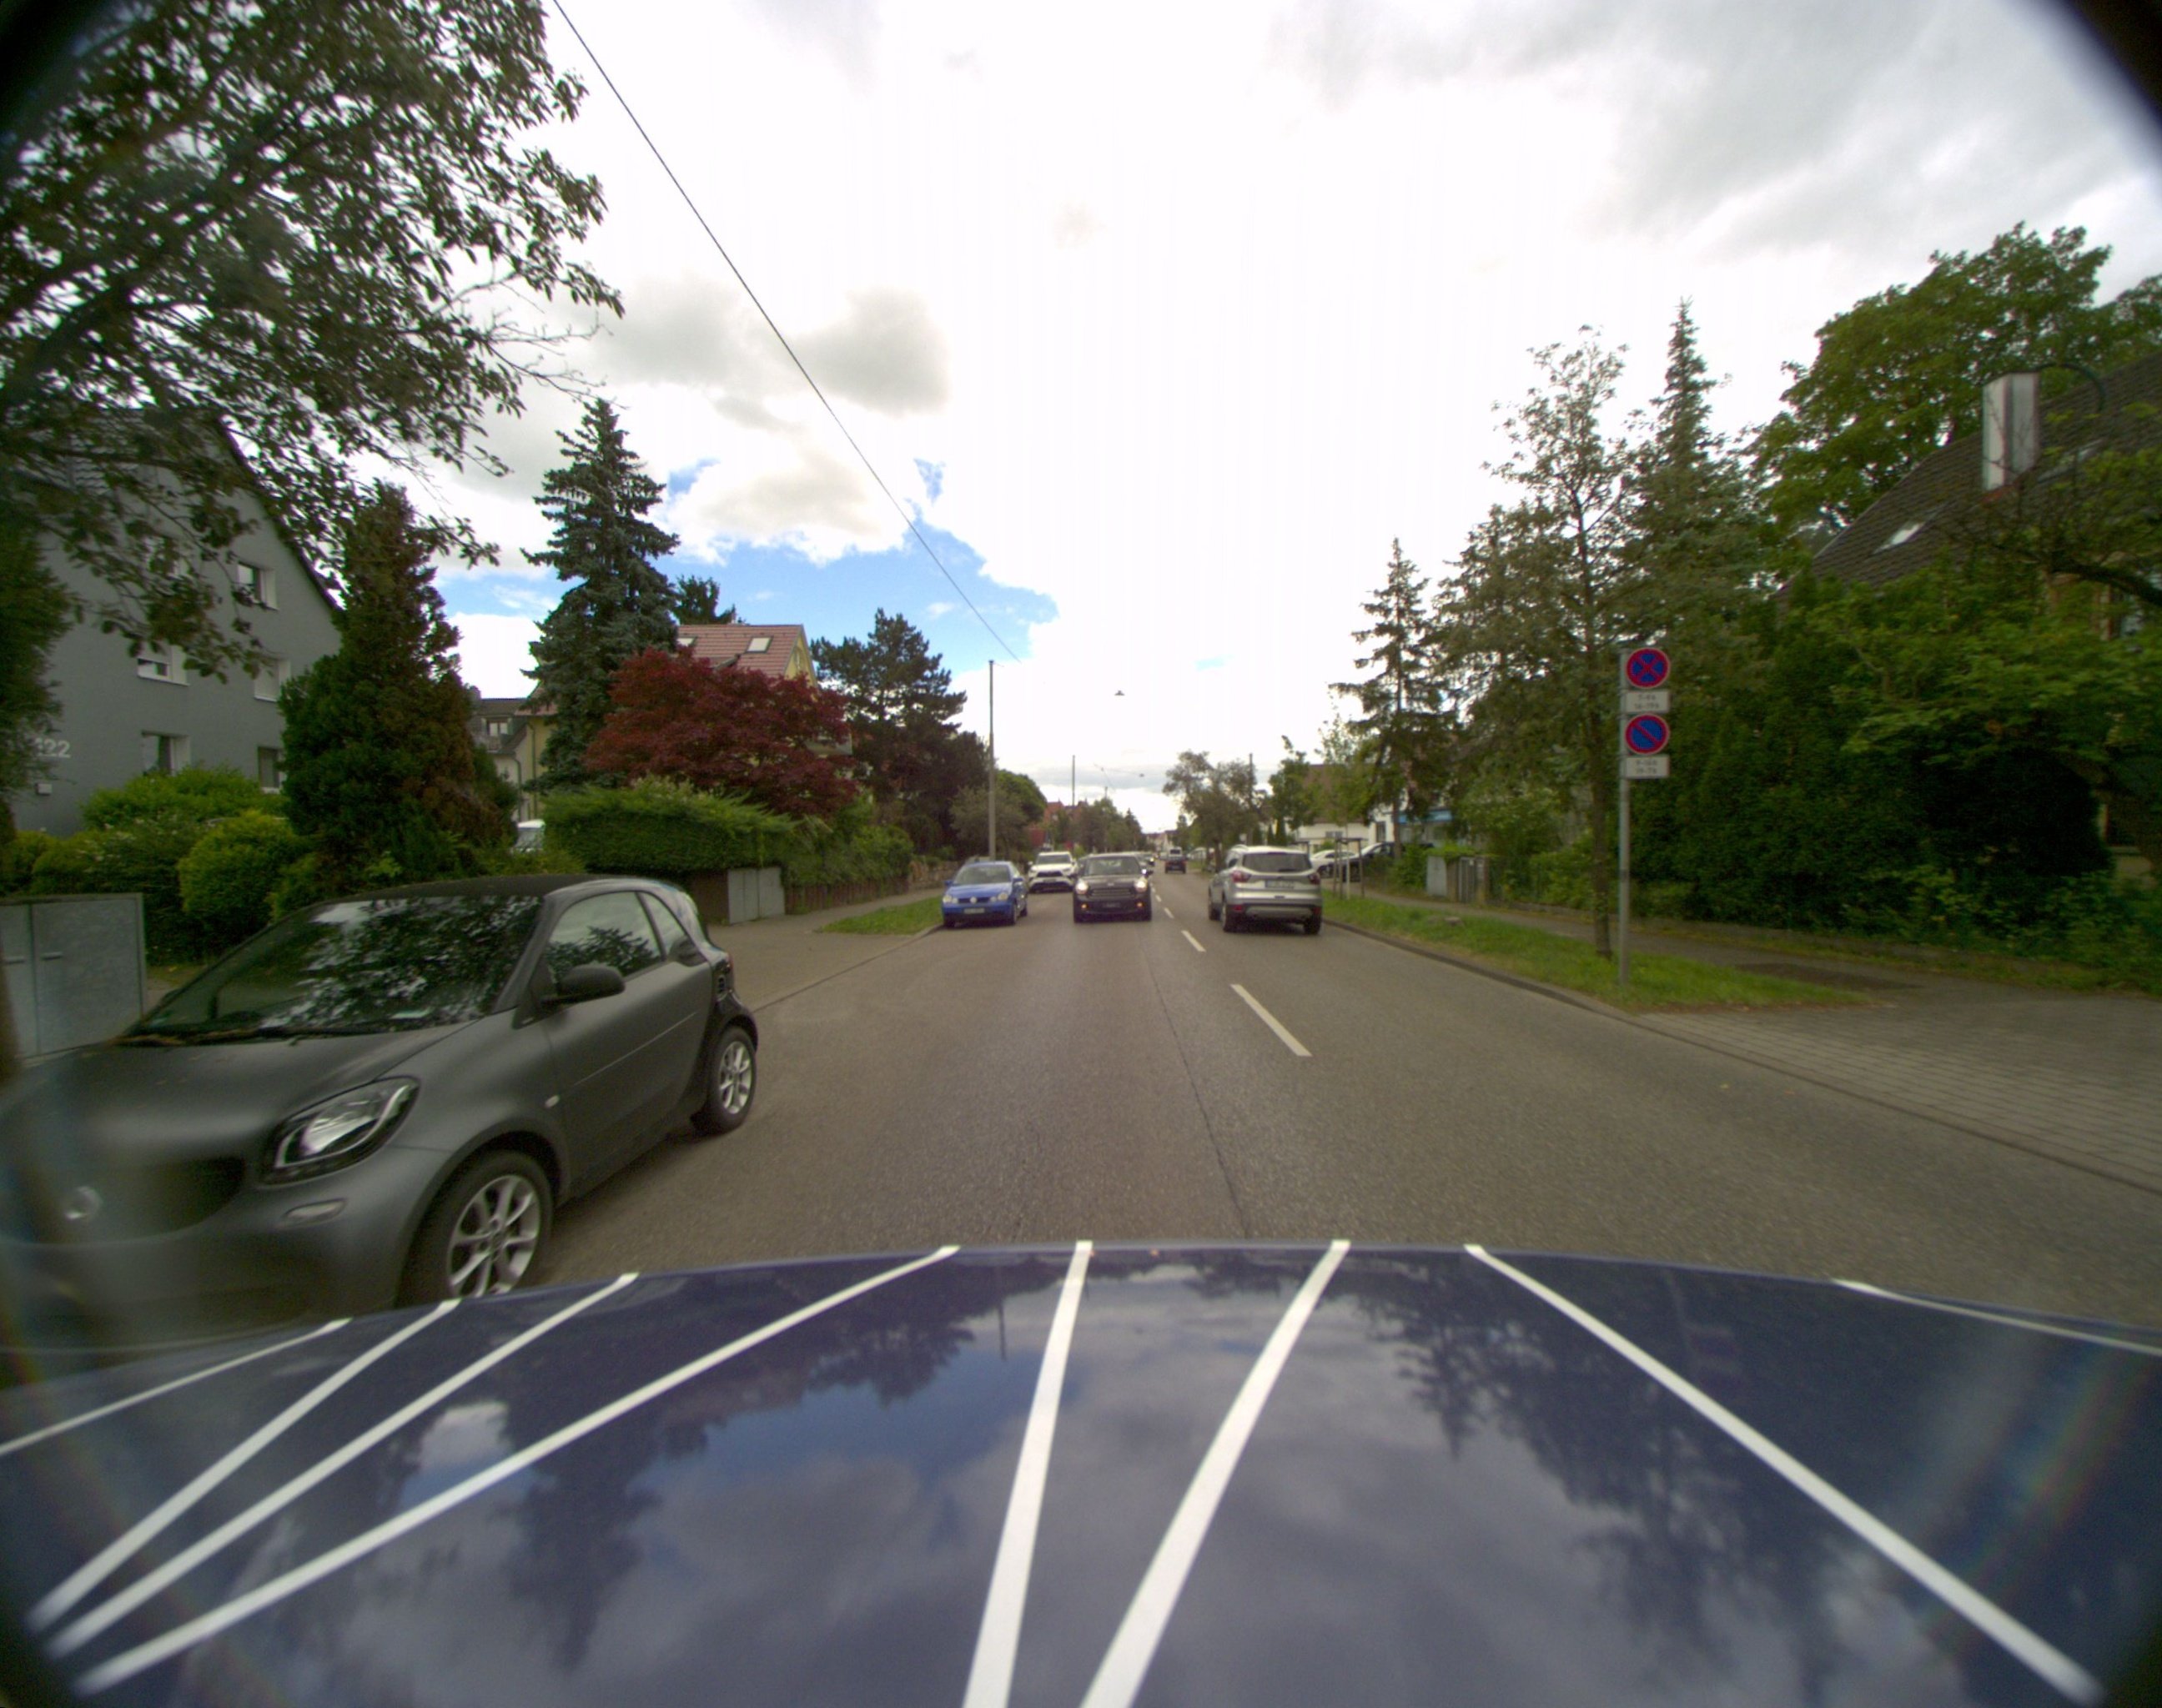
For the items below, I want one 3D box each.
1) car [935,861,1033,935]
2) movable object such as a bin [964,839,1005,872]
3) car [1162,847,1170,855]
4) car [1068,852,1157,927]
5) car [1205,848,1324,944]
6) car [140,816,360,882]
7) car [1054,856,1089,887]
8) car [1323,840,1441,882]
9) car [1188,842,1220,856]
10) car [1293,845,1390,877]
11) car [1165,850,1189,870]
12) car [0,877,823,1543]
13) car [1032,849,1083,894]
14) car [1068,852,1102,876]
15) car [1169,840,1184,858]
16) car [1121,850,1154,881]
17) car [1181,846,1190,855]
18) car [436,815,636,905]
[{"bbox_3d":[-2.226,0.974,18.436,1.630,1.443,3.876,-3,1,3],"label":"car"},{"bbox_3d":[-6.229,0.067,49.247,2.316,2.002,1.343,-3,1,2],"label":"movable object such as a bin"},{"bbox_3d":[18.377,-0.572,164.235,1.799,1.742,4.300,0,0,7],"label":"car"},{"bbox_3d":[0.860,0.768,18.159,1.742,1.573,3.686,-1,0,8],"label":"car"},{"bbox_3d":[3.652,0.734,15.770,1.745,1.696,4.101,1,1,4],"label":"car"},{"bbox_3d":[-20.509,-0.203,19.028,1.430,1.343,3.846,1,4,-5],"label":"car"},{"bbox_3d":[-0.466,0.891,39.255,1.562,1.434,3.507,-2,0,2],"label":"car"},{"bbox_3d":[12.869,0.275,32.776,4.342,1.609,1.974,-2,1,7],"label":"car"},{"bbox_3d":[22.998,-0.896,142.160,5.608,2.549,2.134,1,2,25],"label":"car"},{"bbox_3d":[13.189,0.343,38.639,4.289,1.360,1.816,-3,1,0],"label":"car"},{"bbox_3d":[7.554,0.465,59.846,1.578,1.464,3.470,1,2,3],"label":"car"},{"bbox_3d":[-2.889,1.009,3.943,1.699,1.548,3.955,-3,1,0],"label":"car"},{"bbox_3d":[-0.969,0.695,33.437,1.803,1.768,4.705,-2,0,3],"label":"car"},{"bbox_3d":[0.328,0.649,51.260,1.834,1.448,4.552,-3,0,6],"label":"car"},{"bbox_3d":[14.482,-0.805,115.746,2.077,2.568,5.302,1,1,6],"label":"car"},{"bbox_3d":[3.133,0.579,41.552,1.589,1.598,3.686,-1,0,8],"label":"car"},{"bbox_3d":[23.490,-0.714,171.389,1.997,1.938,4.900,-1,0,7],"label":"car"},{"bbox_3d":[-13.162,0.025,18.786,1.782,1.670,4.531,2,6,-2],"label":"car"}]
